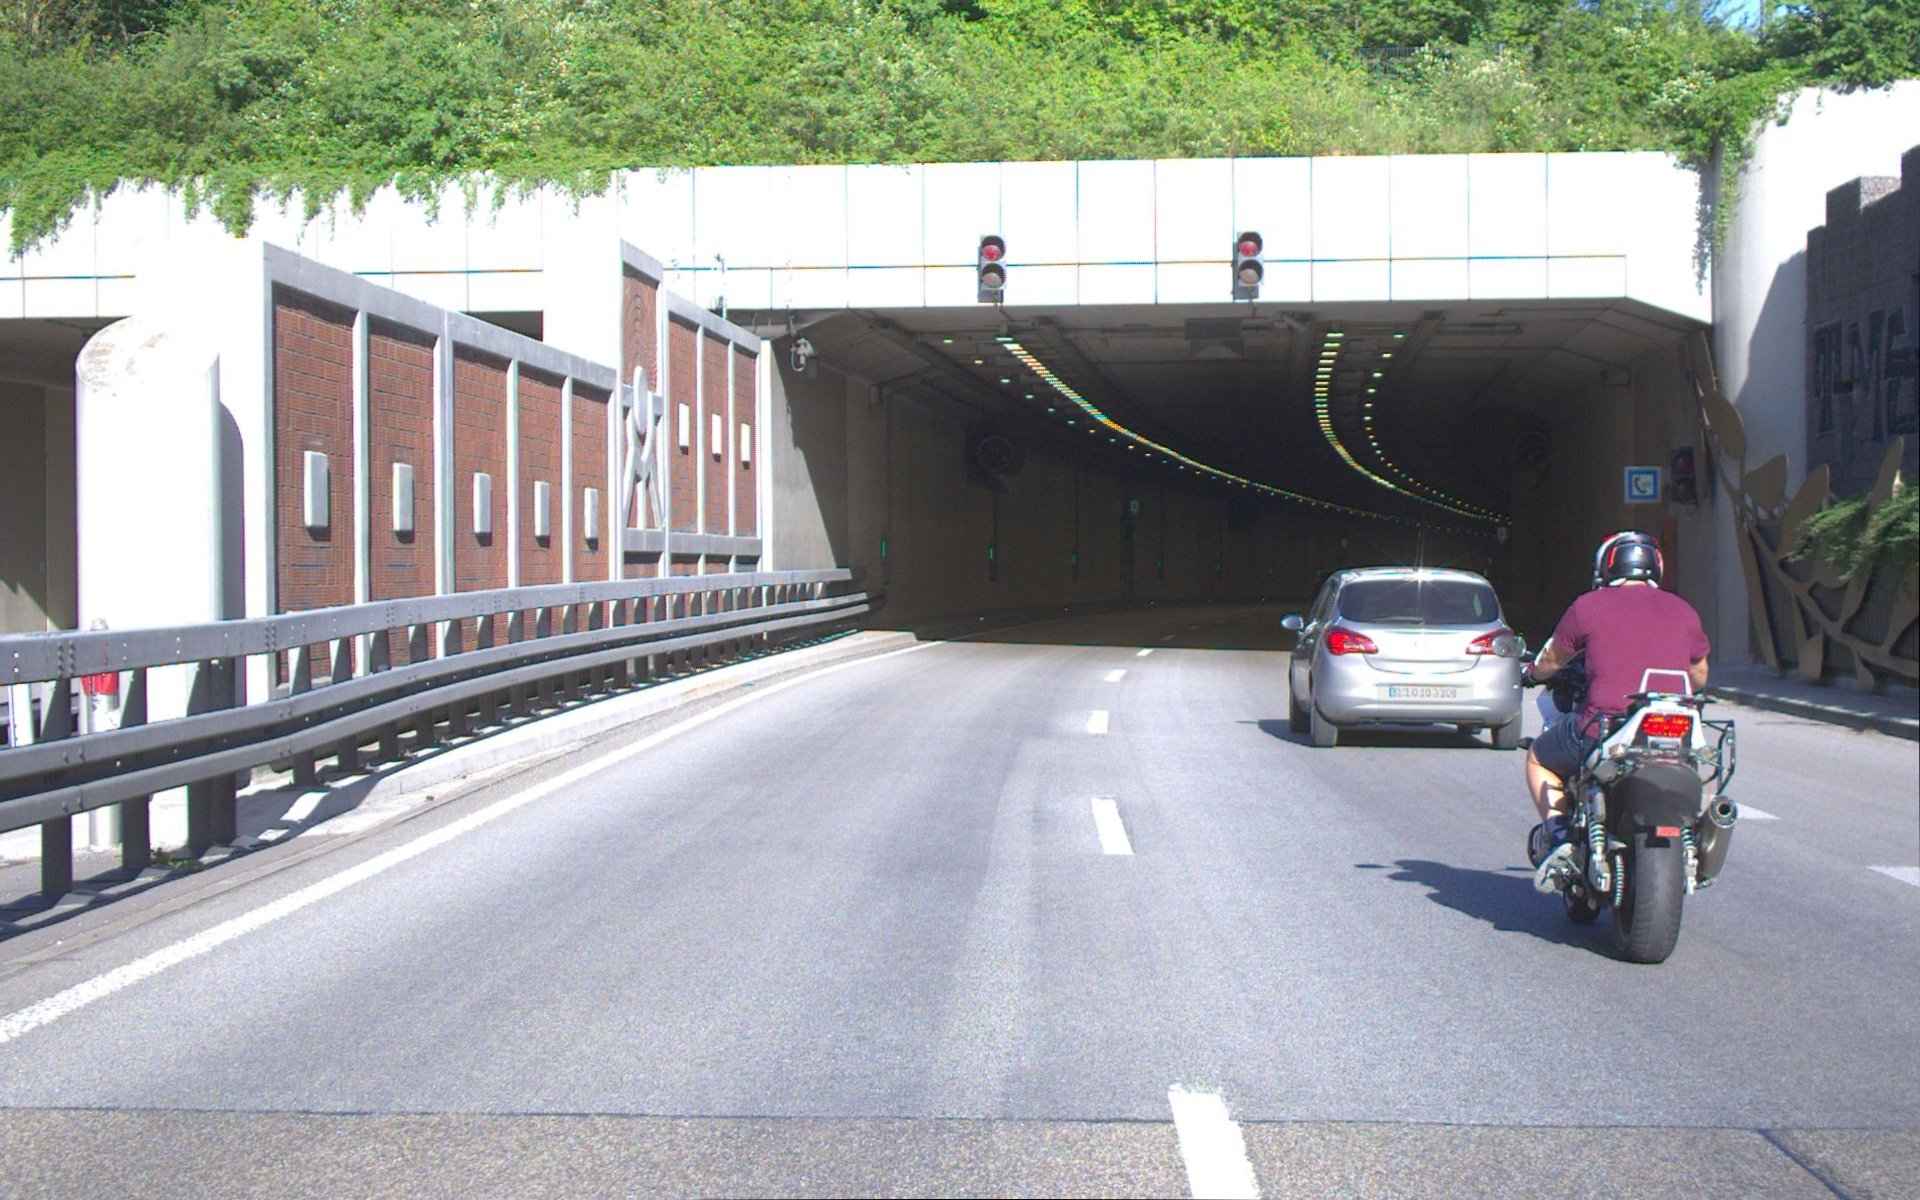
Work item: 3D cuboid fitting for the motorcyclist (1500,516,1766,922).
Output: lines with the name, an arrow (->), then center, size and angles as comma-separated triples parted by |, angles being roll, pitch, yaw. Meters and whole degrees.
motorcyclist -> 2.613, 0.433, 13.468 | 0.883, 1.496, 1.063 | 2, 1, 6

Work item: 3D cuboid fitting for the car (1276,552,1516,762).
car -> 3.610, 0.420, 29.042 | 1.667, 1.546, 4.000 | 2, 2, 3

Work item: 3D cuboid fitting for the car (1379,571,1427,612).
car -> 21.720, -0.428, 168.648 | 1.994, 1.919, 3.998 | 1, 1, 12

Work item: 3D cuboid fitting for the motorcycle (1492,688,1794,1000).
motorcycle -> 2.613, 0.891, 13.461 | 0.859, 0.988, 2.728 | 2, 0, 5
